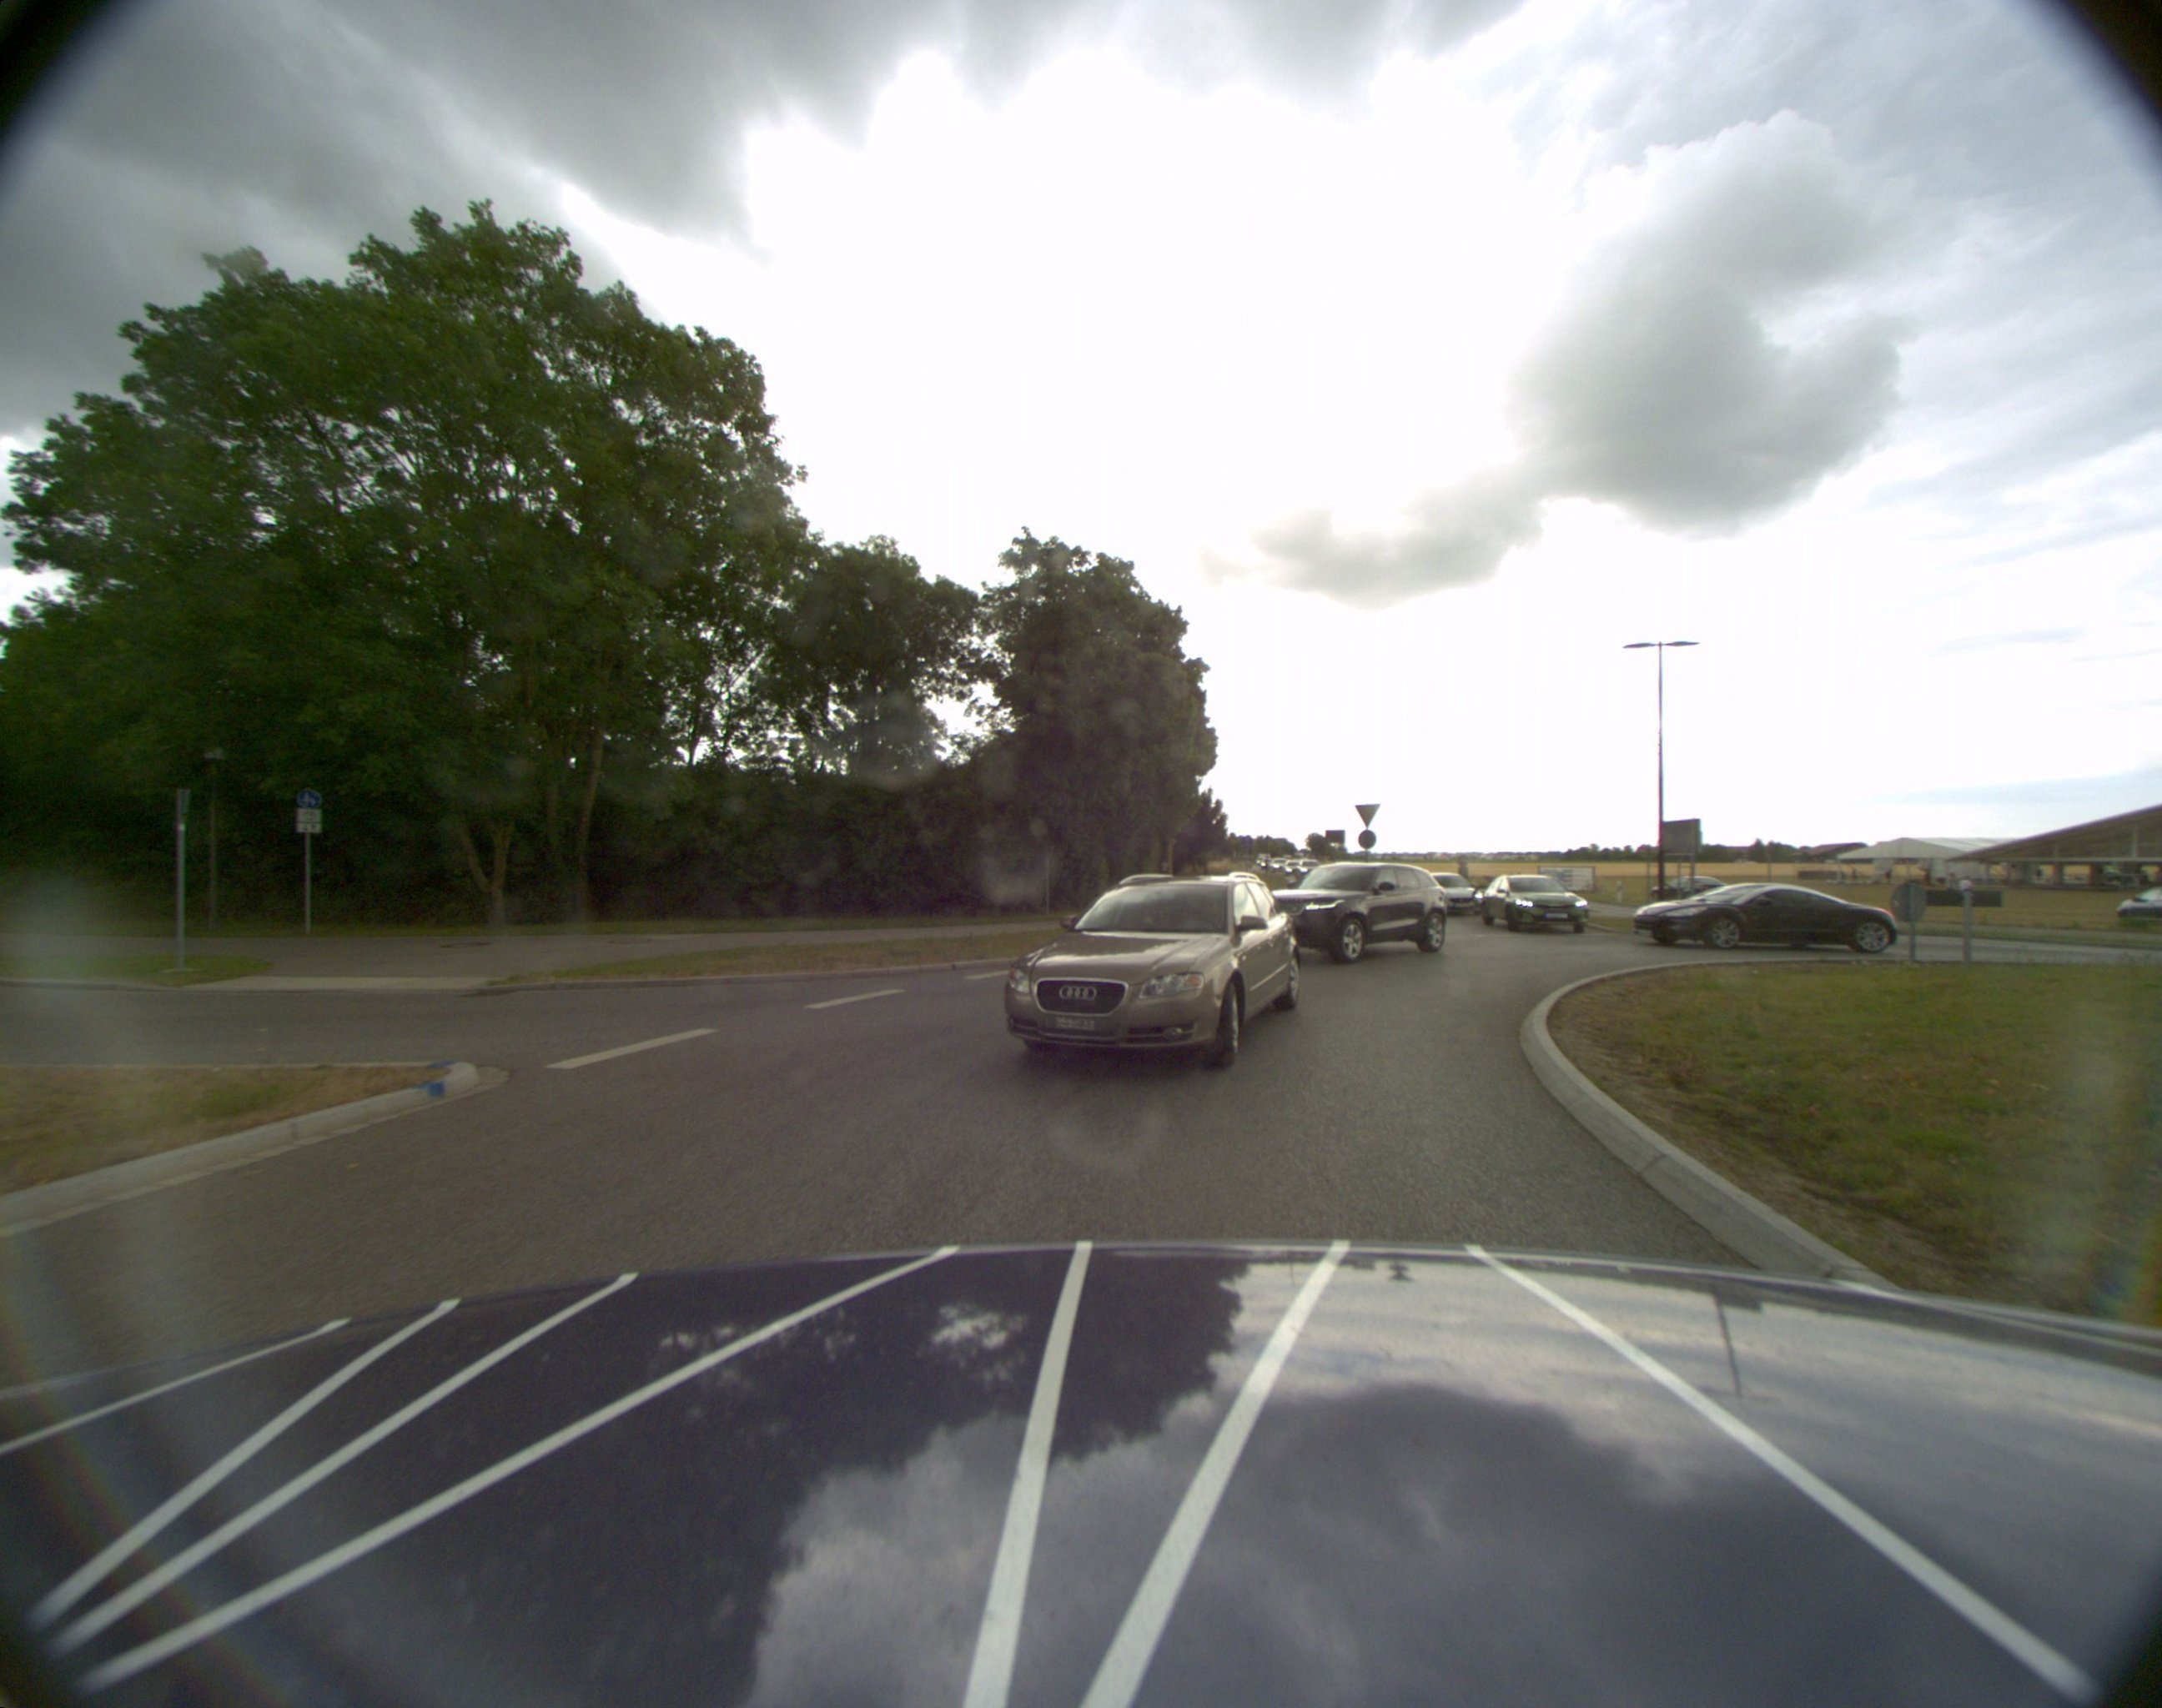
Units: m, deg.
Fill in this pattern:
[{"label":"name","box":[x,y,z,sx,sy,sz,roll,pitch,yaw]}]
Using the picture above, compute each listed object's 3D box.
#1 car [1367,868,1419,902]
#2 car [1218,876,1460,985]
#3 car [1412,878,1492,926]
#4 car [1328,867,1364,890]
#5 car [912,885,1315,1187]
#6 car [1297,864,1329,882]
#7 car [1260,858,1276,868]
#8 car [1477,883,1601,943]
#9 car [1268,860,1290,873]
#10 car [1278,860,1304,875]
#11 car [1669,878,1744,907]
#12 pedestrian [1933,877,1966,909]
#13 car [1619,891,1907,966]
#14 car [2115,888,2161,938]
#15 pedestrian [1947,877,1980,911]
[{"label":"car","box":[15.499,1.513,37.888,1.779,1.490,3.814,0,1,12]},{"label":"car","box":[4.751,1.217,13.686,4.596,1.564,1.995,0,-1,-40]},{"label":"car","box":[13.479,1.687,27.830,1.779,1.490,3.814,0,1,12]},{"label":"car","box":[17.051,1.542,49.039,1.779,1.310,3.814,0,1,12]},{"label":"car","box":[0.716,1.123,6.680,1.778,1.456,4.549,0,1,27]},{"label":"car","box":[18.189,1.487,59.771,1.779,1.310,3.812,0,0,7]},{"label":"car","box":[26.636,1.258,108.436,1.779,1.310,3.812,0,0,7]},{"label":"car","box":[12.606,1.560,21.222,1.838,1.449,4.142,1,-2,14]},{"label":"car","box":[21.421,1.331,82.222,1.779,1.310,3.812,0,0,7]},{"label":"car","box":[19.817,1.267,71.910,1.779,1.310,3.812,0,0,7]},{"label":"car","box":[33.026,1.998,40.226,1.778,1.310,3.815,1,0,18]},{"label":"pedestrian","box":[51.725,2.315,45.262,0.952,1.889,0.850,0,1,16]},{"label":"car","box":[13.836,1.479,15.668,4.108,1.299,1.832,0,-1,8]},{"label":"car","box":[39.441,2.110,27.277,1.711,1.544,4.008,-2,0,38]},{"label":"pedestrian","box":[51.471,2.328,44.322,0.952,1.889,0.850,0,1,16]}]
